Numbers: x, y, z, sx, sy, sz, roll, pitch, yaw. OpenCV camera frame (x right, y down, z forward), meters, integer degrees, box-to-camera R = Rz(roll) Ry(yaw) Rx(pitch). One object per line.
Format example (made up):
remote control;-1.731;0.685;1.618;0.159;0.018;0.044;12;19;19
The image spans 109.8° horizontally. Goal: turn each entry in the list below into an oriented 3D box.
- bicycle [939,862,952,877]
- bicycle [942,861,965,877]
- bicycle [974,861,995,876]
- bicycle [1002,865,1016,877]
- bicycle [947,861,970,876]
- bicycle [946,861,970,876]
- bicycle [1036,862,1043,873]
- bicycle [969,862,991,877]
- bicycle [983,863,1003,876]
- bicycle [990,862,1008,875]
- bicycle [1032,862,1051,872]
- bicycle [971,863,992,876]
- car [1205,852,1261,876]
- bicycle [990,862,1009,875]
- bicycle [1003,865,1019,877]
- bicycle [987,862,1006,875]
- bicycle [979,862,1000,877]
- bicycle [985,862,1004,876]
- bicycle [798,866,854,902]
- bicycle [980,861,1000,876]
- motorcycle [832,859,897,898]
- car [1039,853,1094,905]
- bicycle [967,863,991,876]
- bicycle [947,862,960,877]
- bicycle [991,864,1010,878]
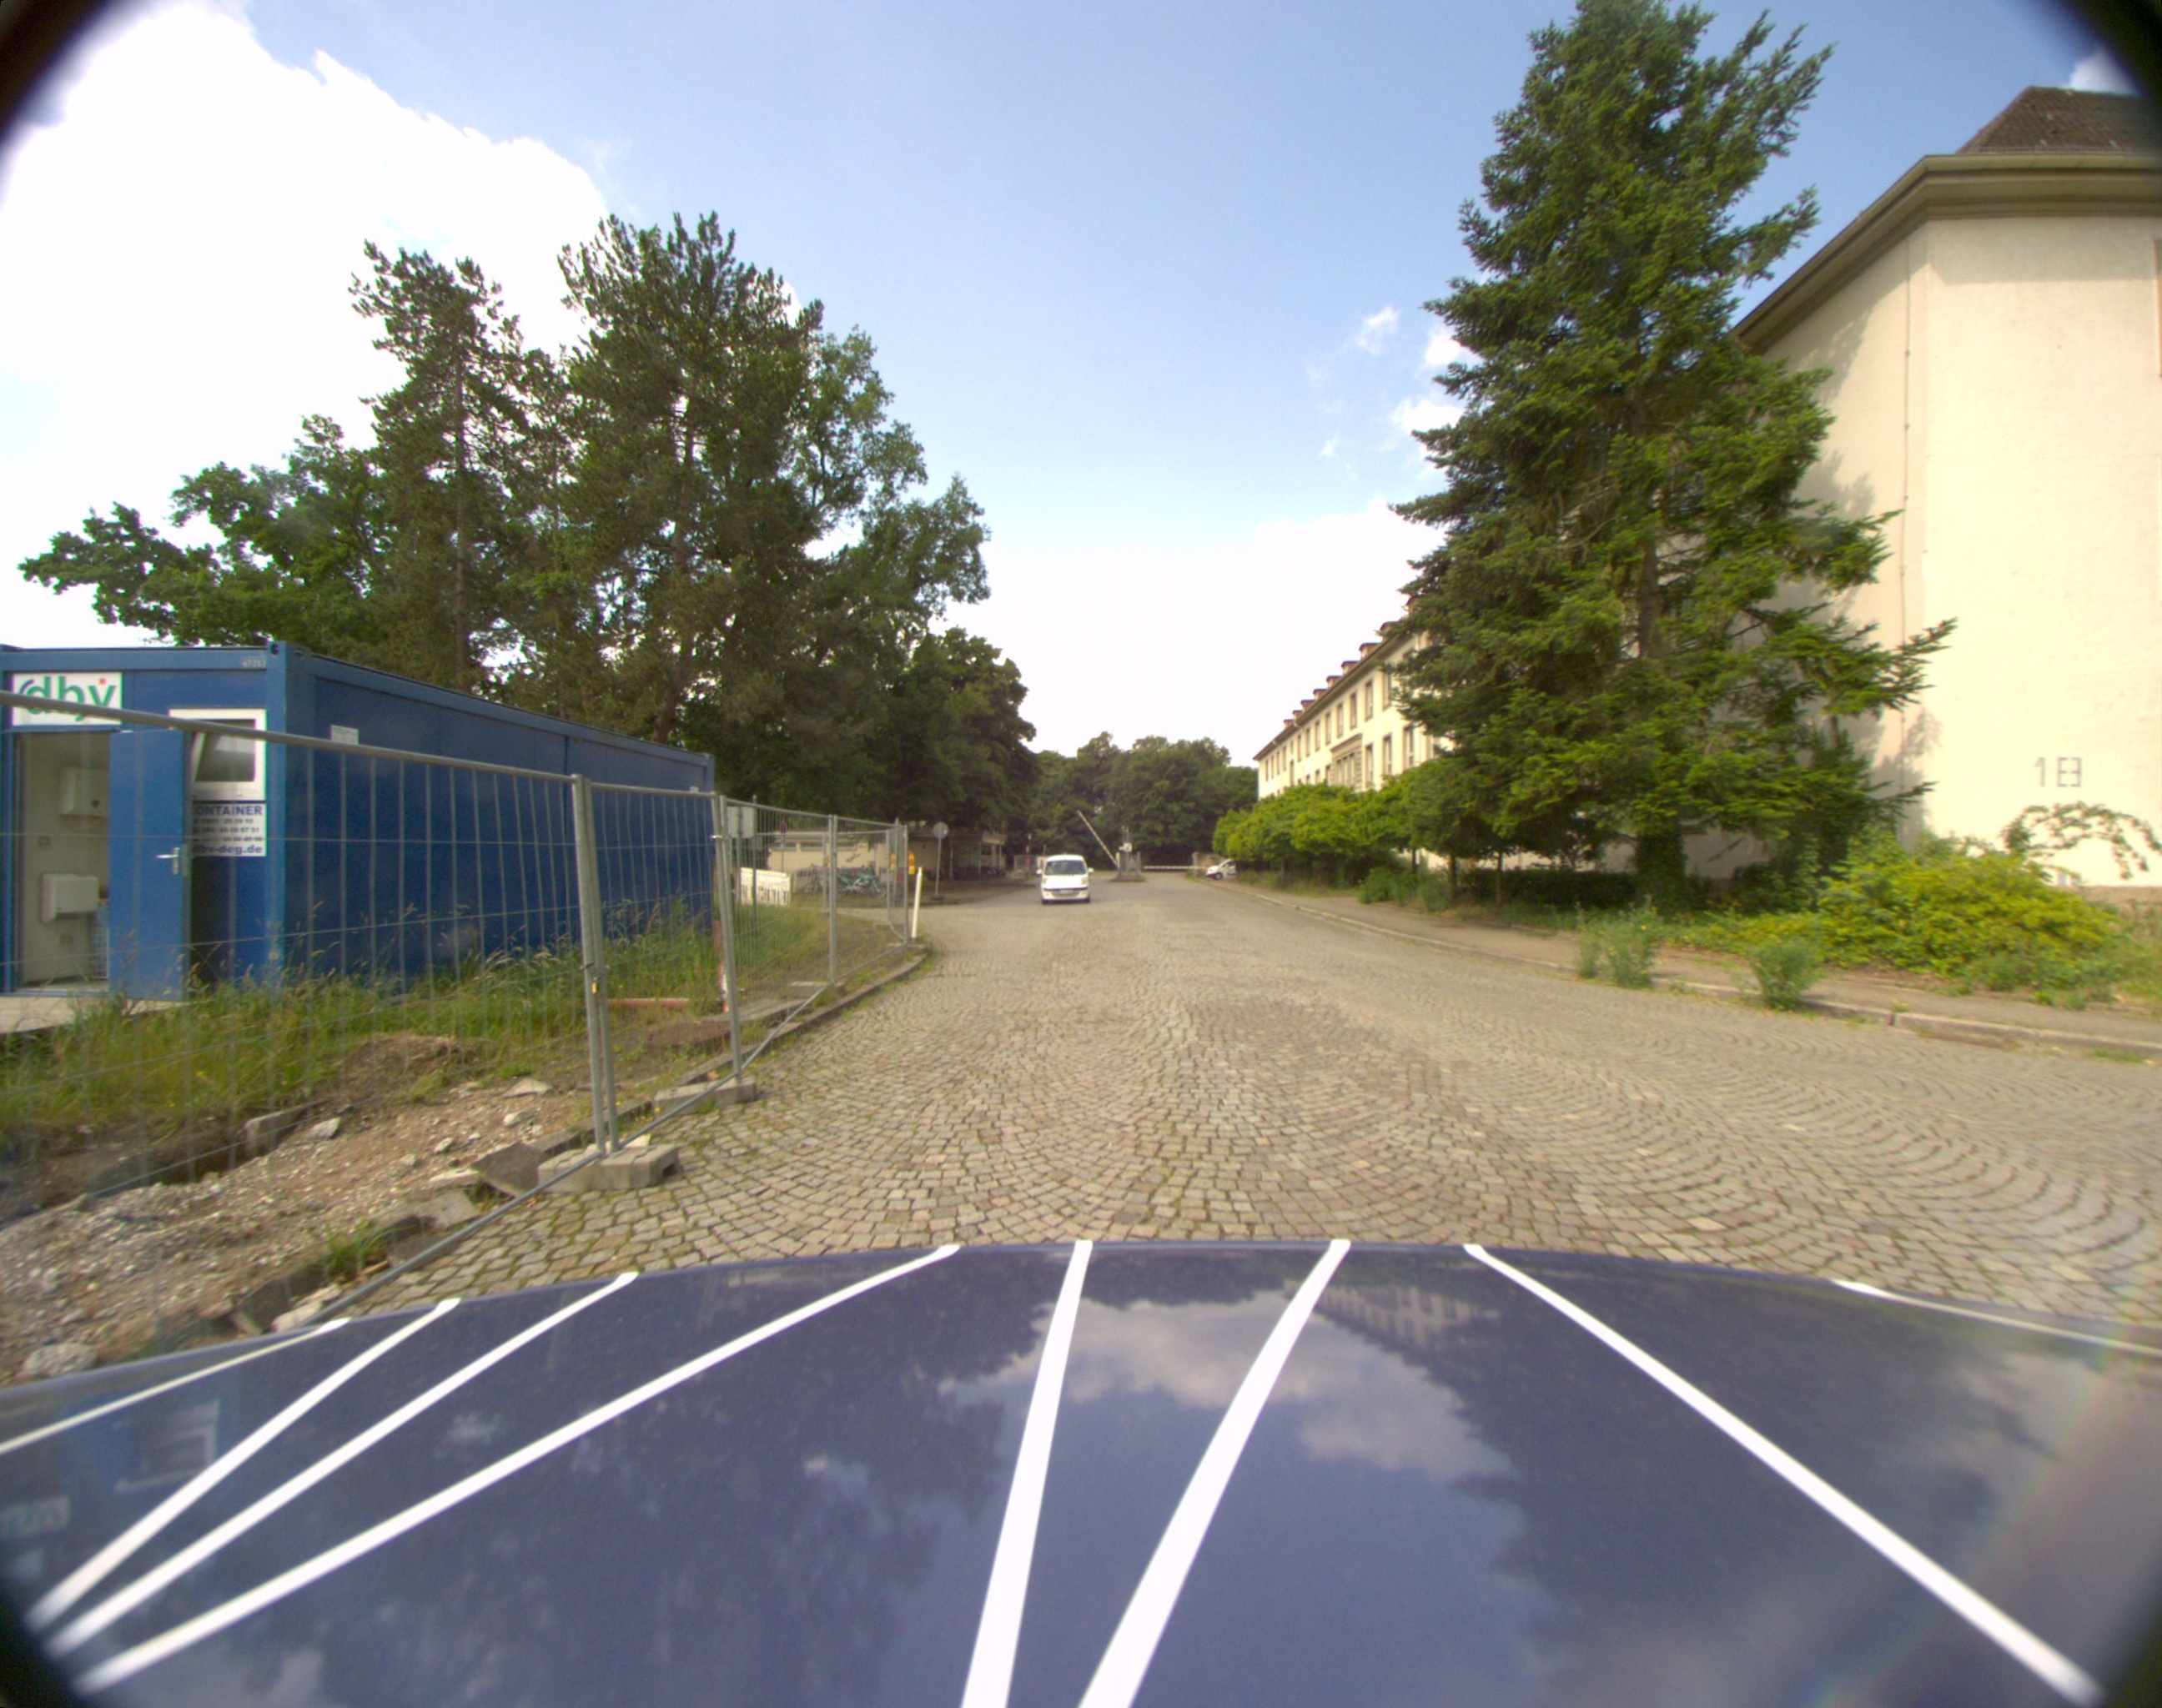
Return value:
bicycle;-10.109;1.127;56.647;0.598;1.110;1.635;2;0;2
bicycle;-10.025;1.184;59.752;1.745;1.158;0.608;2;0;-1
bicycle;-7.788;1.162;61.554;1.635;1.183;0.473;2;0;-10
bicycle;-6.477;1.549;68.351;1.154;1.056;0.286;0;0;-17
bicycle;-9.954;1.184;61.699;1.745;1.158;0.608;2;0;-1
bicycle;-9.828;1.180;60.770;1.745;1.158;0.608;2;0;-1
bicycle;-4.051;1.335;73.804;0.474;1.051;1.733;0;0;4
bicycle;-7.879;1.213;59.215;1.682;1.102;0.338;2;0;-10
bicycle;-7.491;1.294;64.637;1.596;1.044;0.325;2;0;-4
bicycle;-7.242;1.298;67.111;1.617;1.134;0.356;2;0;-4
bicycle;-3.968;1.319;76.328;1.867;0.934;0.503;1;0;-2
bicycle;-7.960;1.254;60.825;1.637;0.970;0.322;2;0;-27
car;12.858;0.823;64.346;4.311;1.795;1.820;-3;0;1
bicycle;-7.145;1.285;66.587;1.617;1.134;0.325;2;0;-4
bicycle;-6.374;1.569;68.862;1.407;1.039;0.338;0;0;-23
bicycle;-7.310;1.269;65.749;1.617;1.134;0.325;2;0;-4
bicycle;-7.514;1.278;62.272;1.635;1.183;0.419;2;0;-9
bicycle;-7.387;1.270;65.082;1.596;1.134;0.325;2;0;-4
bicycle;-9.001;1.048;26.769;1.900;1.190;0.657;0;0;23
bicycle;-7.589;1.218;63.459;1.635;1.183;0.498;2;0;-9
motorcycle;-8.265;0.923;29.086;2.282;1.476;0.757;0;0;-1
car;-0.479;0.905;28.909;1.867;1.749;4.149;-2;0;1
bicycle;-8.053;1.252;60.072;1.749;0.970;0.757;2;0;-27
bicycle;-9.479;1.164;56.646;0.598;1.110;1.635;2;0;2
bicycle;-7.152;1.514;67.762;1.617;1.134;0.356;2;0;-4
